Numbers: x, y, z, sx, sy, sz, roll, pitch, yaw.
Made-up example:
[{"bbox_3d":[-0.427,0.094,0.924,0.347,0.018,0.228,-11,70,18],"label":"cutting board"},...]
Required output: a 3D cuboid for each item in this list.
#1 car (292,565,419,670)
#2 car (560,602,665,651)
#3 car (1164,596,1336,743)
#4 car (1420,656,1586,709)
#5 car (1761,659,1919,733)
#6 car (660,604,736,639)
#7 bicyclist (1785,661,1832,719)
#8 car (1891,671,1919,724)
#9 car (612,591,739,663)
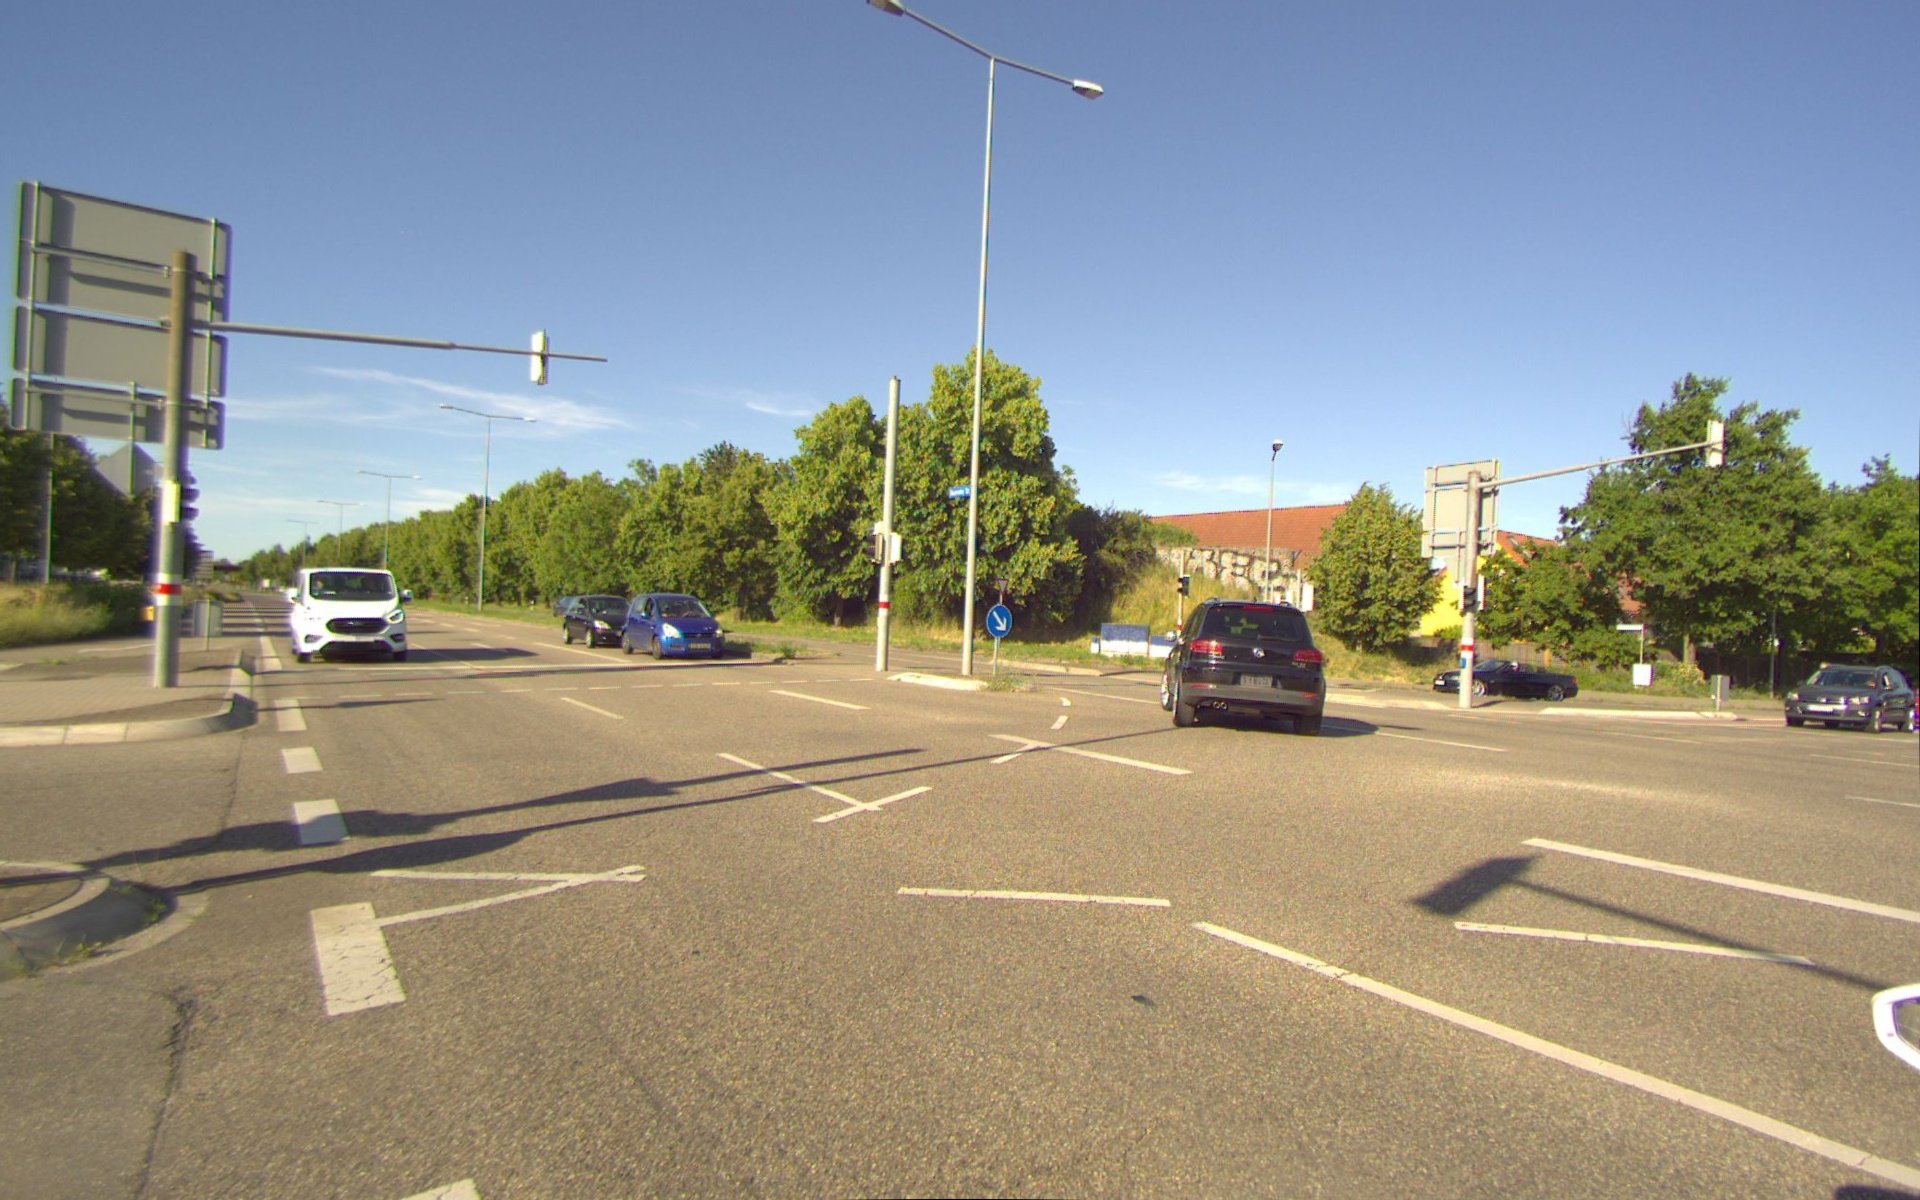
[{"bbox_3d":[-13.525,0.331,22.318,2.028,2.040,5.223,1,0,-35],"label":"car"},{"bbox_3d":[-10.272,0.744,29.520,1.875,1.292,3.999,1,0,-35],"label":"car"},{"bbox_3d":[3.803,0.860,13.799,1.795,1.648,4.003,2,-1,10],"label":"car"},{"bbox_3d":[18.093,2.741,33.565,4.601,1.326,2.044,5,-2,-10],"label":"car"},{"bbox_3d":[23.050,2.486,26.206,4.481,1.665,1.983,4,-2,-32],"label":"car"},{"bbox_3d":[-13.352,1.058,51.020,2.031,1.638,4.366,1,0,-40],"label":"car"},{"bbox_3d":[26.239,2.782,31.058,1.229,1.724,0.740,4,-1,-33],"label":"bicyclist"},{"bbox_3d":[29.336,2.931,29.776,3.673,1.502,1.636,4,-2,-32],"label":"car"},{"bbox_3d":[-7.239,0.627,25.308,1.874,1.666,3.999,1,0,-35],"label":"car"}]
